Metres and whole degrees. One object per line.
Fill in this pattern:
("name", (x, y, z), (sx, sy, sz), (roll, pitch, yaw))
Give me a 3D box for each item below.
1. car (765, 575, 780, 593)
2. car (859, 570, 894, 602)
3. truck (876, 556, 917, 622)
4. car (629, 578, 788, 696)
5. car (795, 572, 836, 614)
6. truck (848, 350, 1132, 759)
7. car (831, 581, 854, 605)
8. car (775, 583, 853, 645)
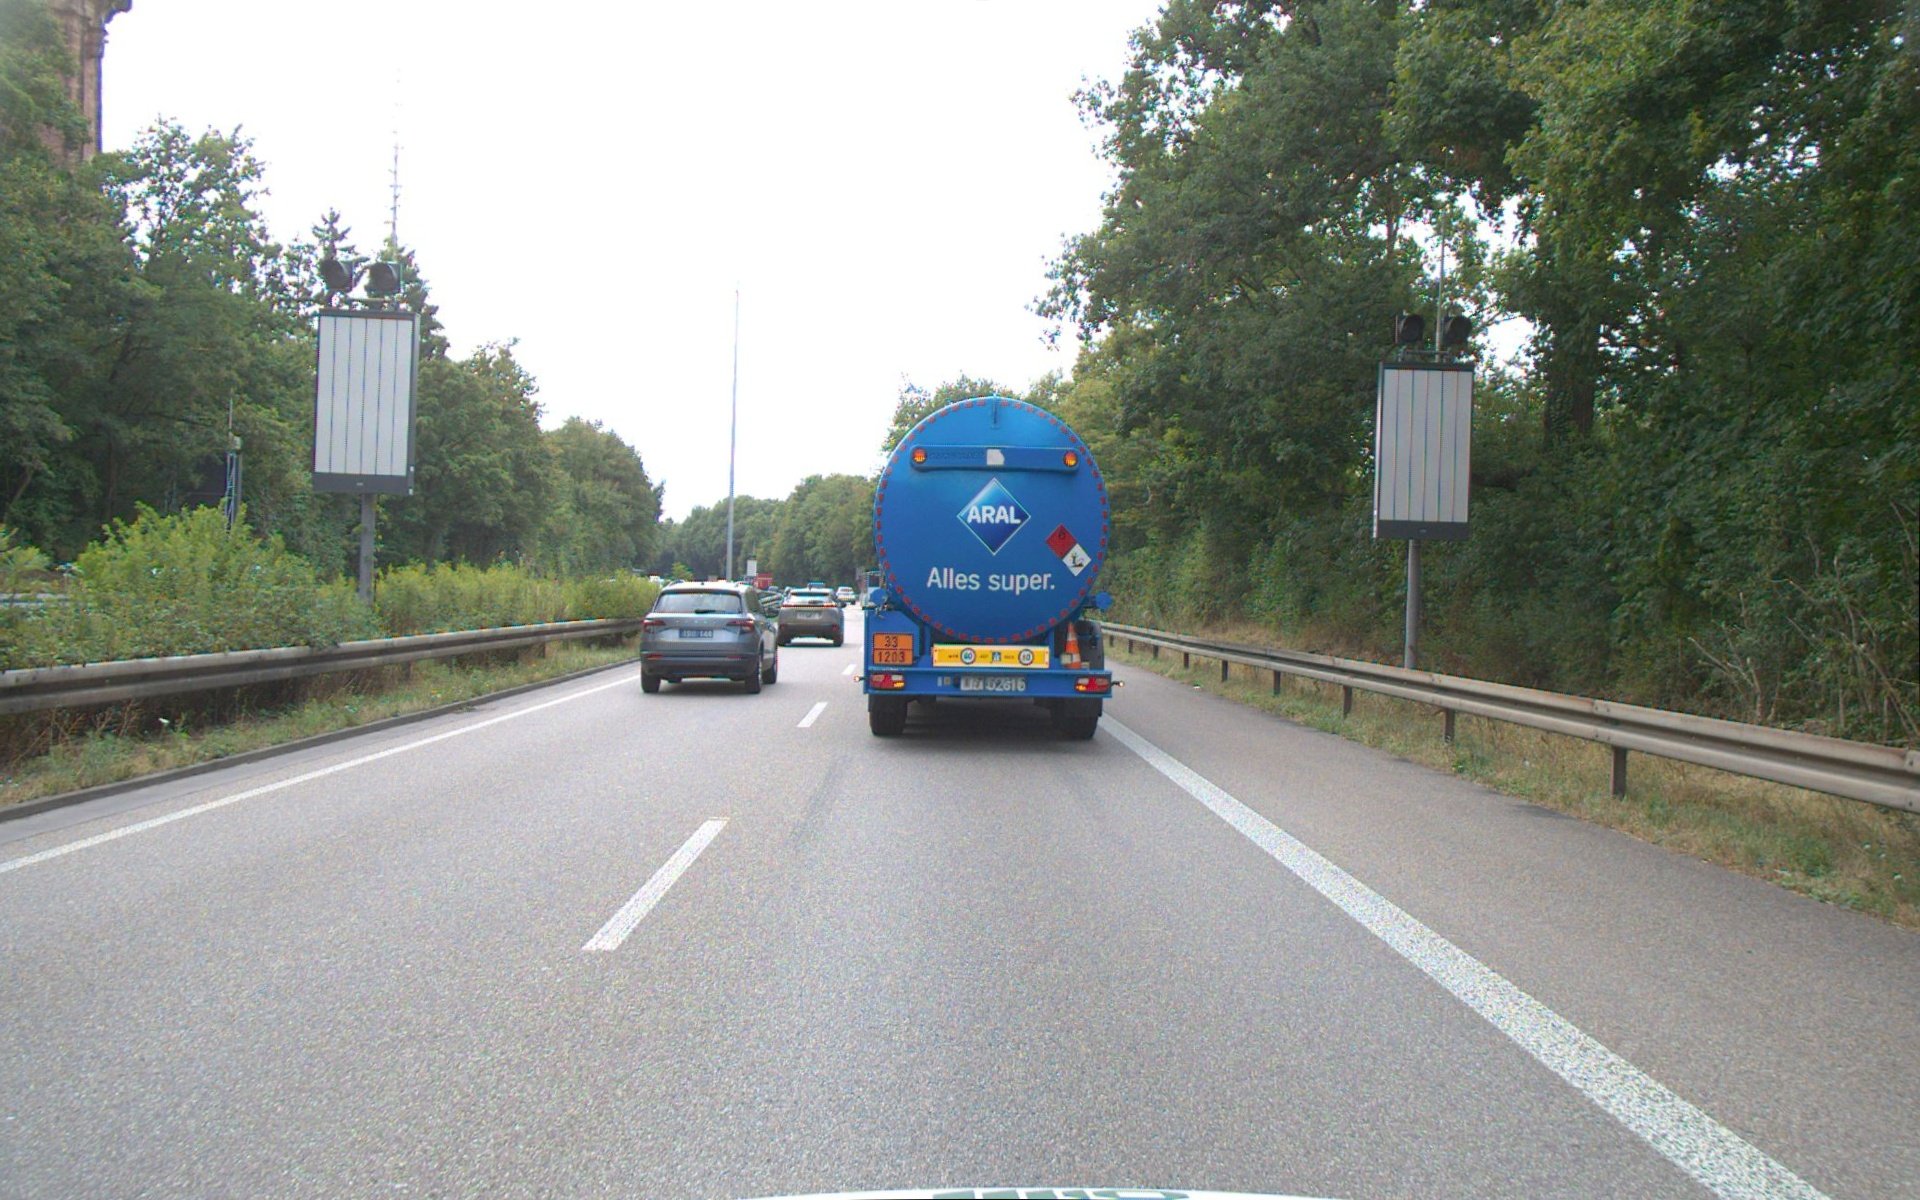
("car", (-25.214, -2.136, 222.789), (1.955, 2.284, 3.994), (0, 0, -7))
("car", (-5.950, -0.979, 117.562), (1.957, 2.284, 3.990), (0, 0, -10))
("truck", (-3.202, -0.539, 83.846), (1.953, 3.147, 7.812), (0, 0, -2))
("car", (-3.744, 0.519, 25.297), (1.789, 1.637, 4.167), (0, 0, 0))
("car", (-7.269, -0.361, 83.511), (1.954, 2.049, 3.997), (0, 0, -4))
("truck", (0.294, -0.436, 19.760), (2.699, 3.914, 7.688), (0, 0, 0))
("car", (-11.434, -0.701, 160.768), (1.953, 2.284, 4.000), (0, 0, 0))
("car", (-4.016, 0.367, 46.099), (1.789, 1.637, 4.167), (0, 0, 0))
